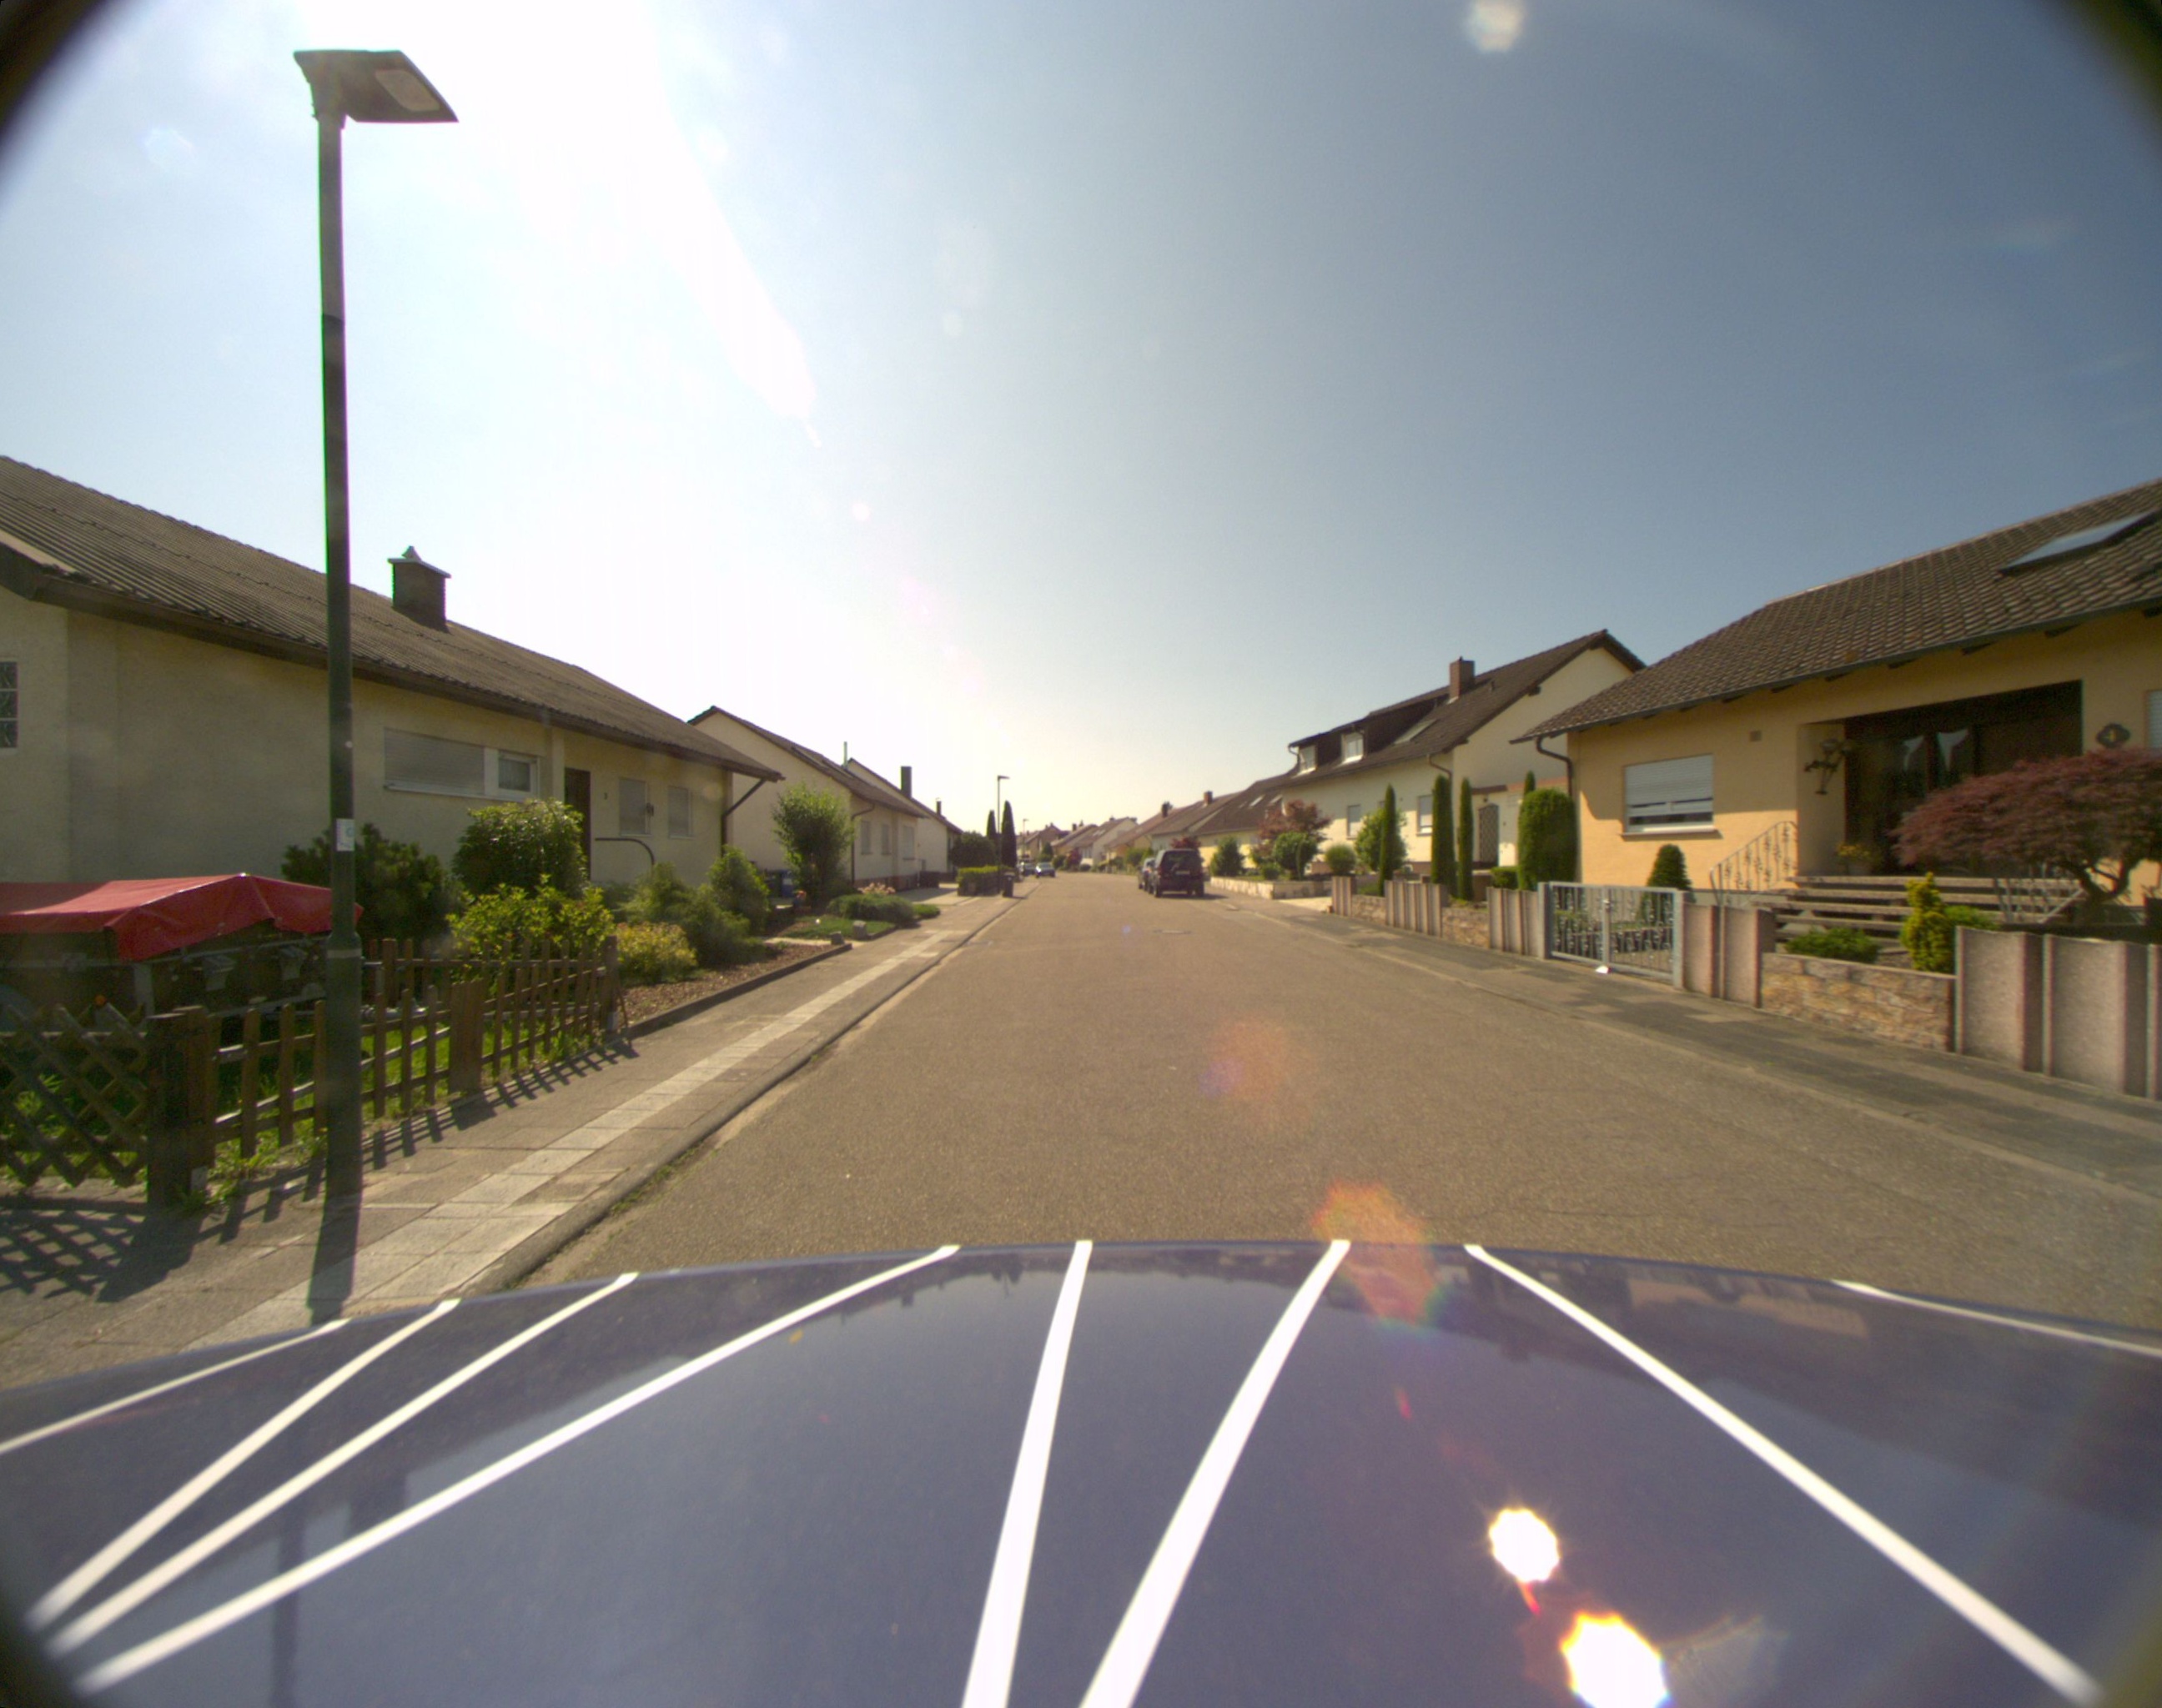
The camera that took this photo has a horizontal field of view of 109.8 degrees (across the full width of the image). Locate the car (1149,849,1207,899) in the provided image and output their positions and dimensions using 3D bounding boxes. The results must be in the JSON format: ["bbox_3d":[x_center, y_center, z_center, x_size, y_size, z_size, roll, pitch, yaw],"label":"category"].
[{"bbox_3d":[3.657,0.723,29.152,1.769,1.767,3.652,-1,0,0],"label":"car"}]

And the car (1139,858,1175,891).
[{"bbox_3d":[3.430,0.906,34.519,1.305,1.415,3.103,-1,0,0],"label":"car"}]

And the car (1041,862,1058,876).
[{"bbox_3d":[-3.108,1.404,73.707,1.459,1.270,3.101,0,0,-6],"label":"car"}]

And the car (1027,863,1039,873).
[{"bbox_3d":[-6.157,1.787,96.488,1.459,1.270,3.102,0,0,-5],"label":"car"}]

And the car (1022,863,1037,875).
[{"bbox_3d":[-5.866,1.677,86.334,1.460,1.270,3.101,0,0,-7],"label":"car"}]

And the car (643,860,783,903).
[{"bbox_3d":[-12.604,0.939,26.203,3.999,1.414,1.693,0,0,-6],"label":"car"}]
